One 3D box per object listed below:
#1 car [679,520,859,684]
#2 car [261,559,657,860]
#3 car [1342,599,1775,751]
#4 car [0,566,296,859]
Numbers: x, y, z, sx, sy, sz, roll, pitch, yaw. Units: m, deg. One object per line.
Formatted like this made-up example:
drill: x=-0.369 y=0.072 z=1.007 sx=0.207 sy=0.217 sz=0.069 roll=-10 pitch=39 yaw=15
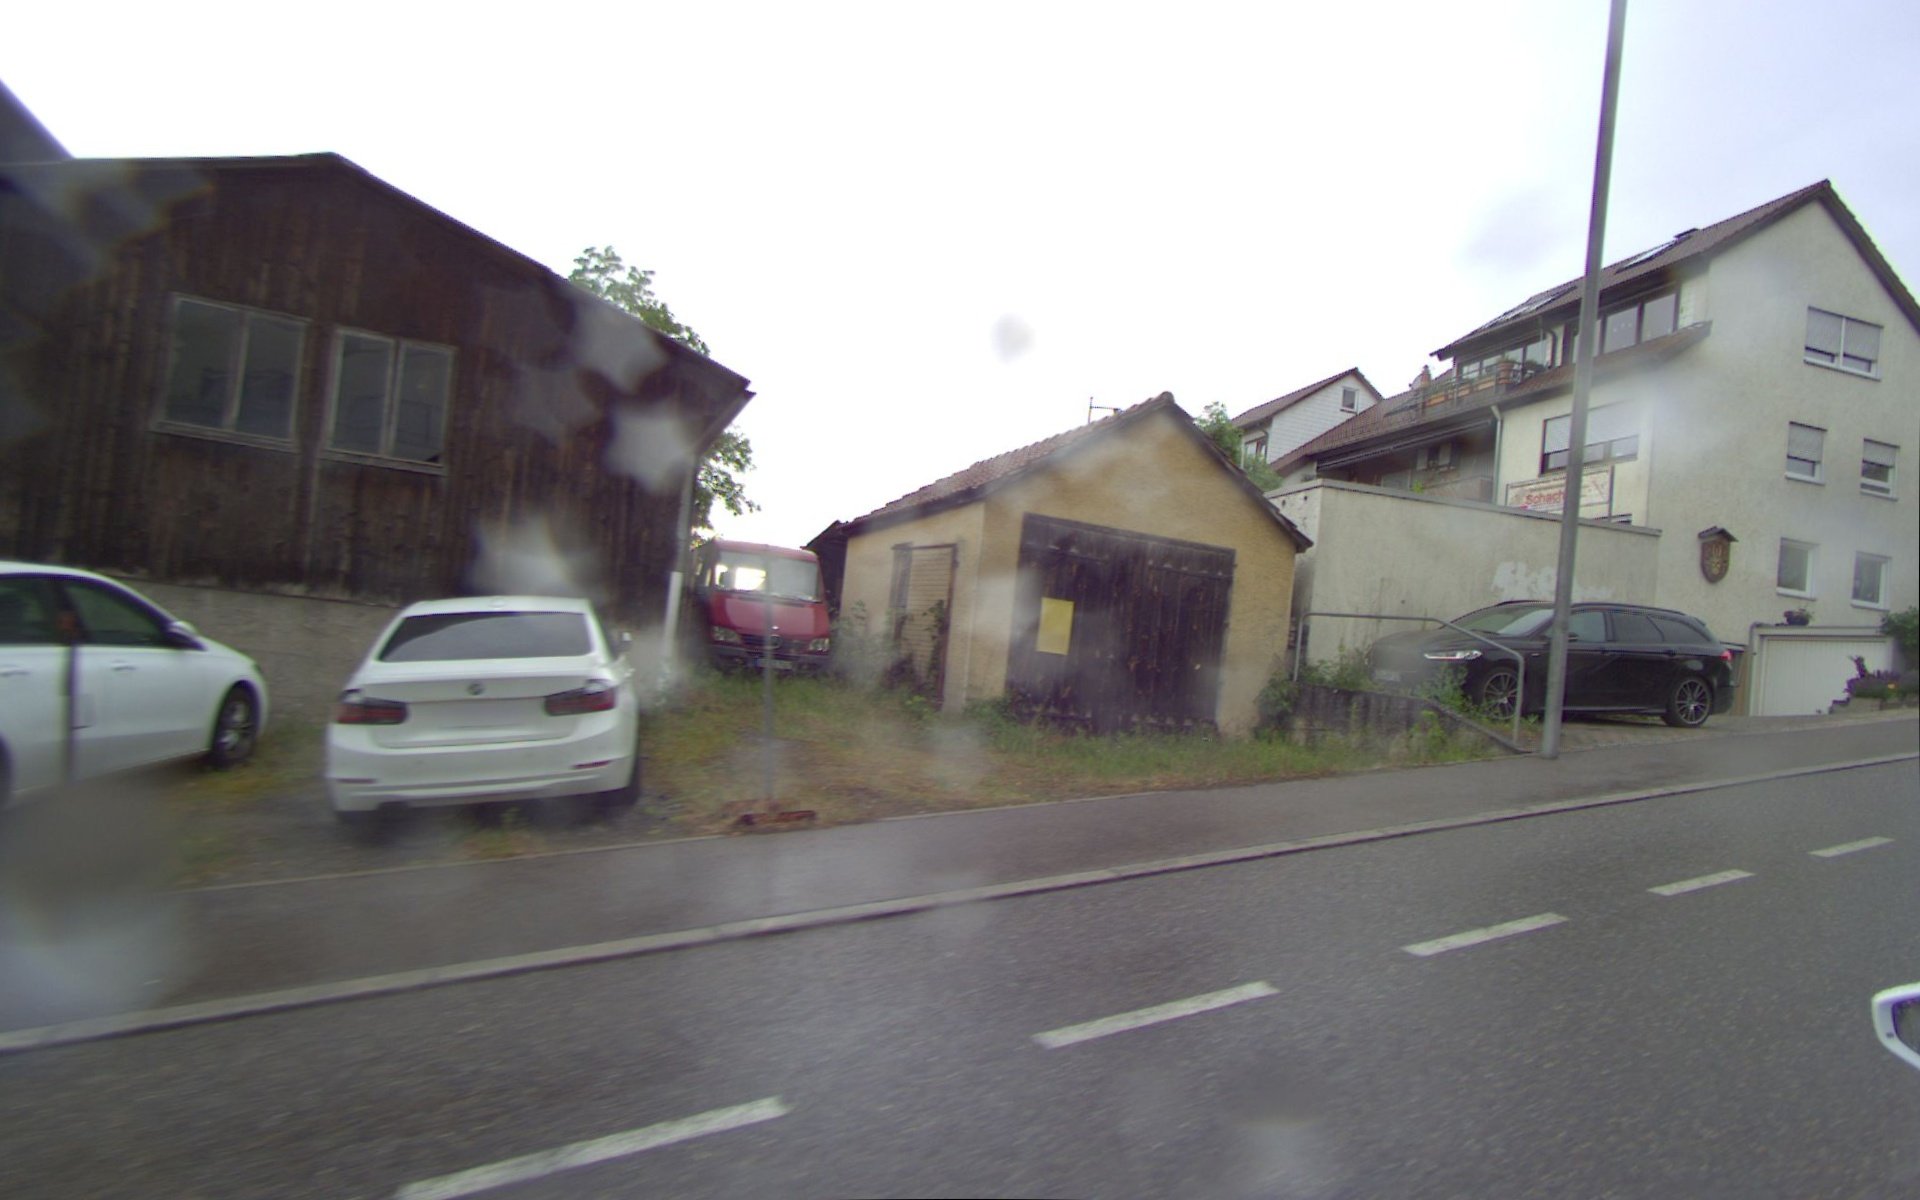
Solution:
car: x=-3.181 y=0.186 z=15.897 sx=2.029 sy=2.077 sz=4.594 roll=5 pitch=-5 yaw=-19
car: x=-3.268 y=0.603 z=7.517 sx=1.870 sy=1.525 sz=4.495 roll=1 pitch=-1 yaw=-17
car: x=7.593 y=0.896 z=12.829 sx=4.882 sy=1.681 sz=1.974 roll=1 pitch=-1 yaw=-16
car: x=-6.097 y=0.590 z=6.181 sx=1.866 sy=1.525 sz=3.993 roll=1 pitch=-1 yaw=-10
